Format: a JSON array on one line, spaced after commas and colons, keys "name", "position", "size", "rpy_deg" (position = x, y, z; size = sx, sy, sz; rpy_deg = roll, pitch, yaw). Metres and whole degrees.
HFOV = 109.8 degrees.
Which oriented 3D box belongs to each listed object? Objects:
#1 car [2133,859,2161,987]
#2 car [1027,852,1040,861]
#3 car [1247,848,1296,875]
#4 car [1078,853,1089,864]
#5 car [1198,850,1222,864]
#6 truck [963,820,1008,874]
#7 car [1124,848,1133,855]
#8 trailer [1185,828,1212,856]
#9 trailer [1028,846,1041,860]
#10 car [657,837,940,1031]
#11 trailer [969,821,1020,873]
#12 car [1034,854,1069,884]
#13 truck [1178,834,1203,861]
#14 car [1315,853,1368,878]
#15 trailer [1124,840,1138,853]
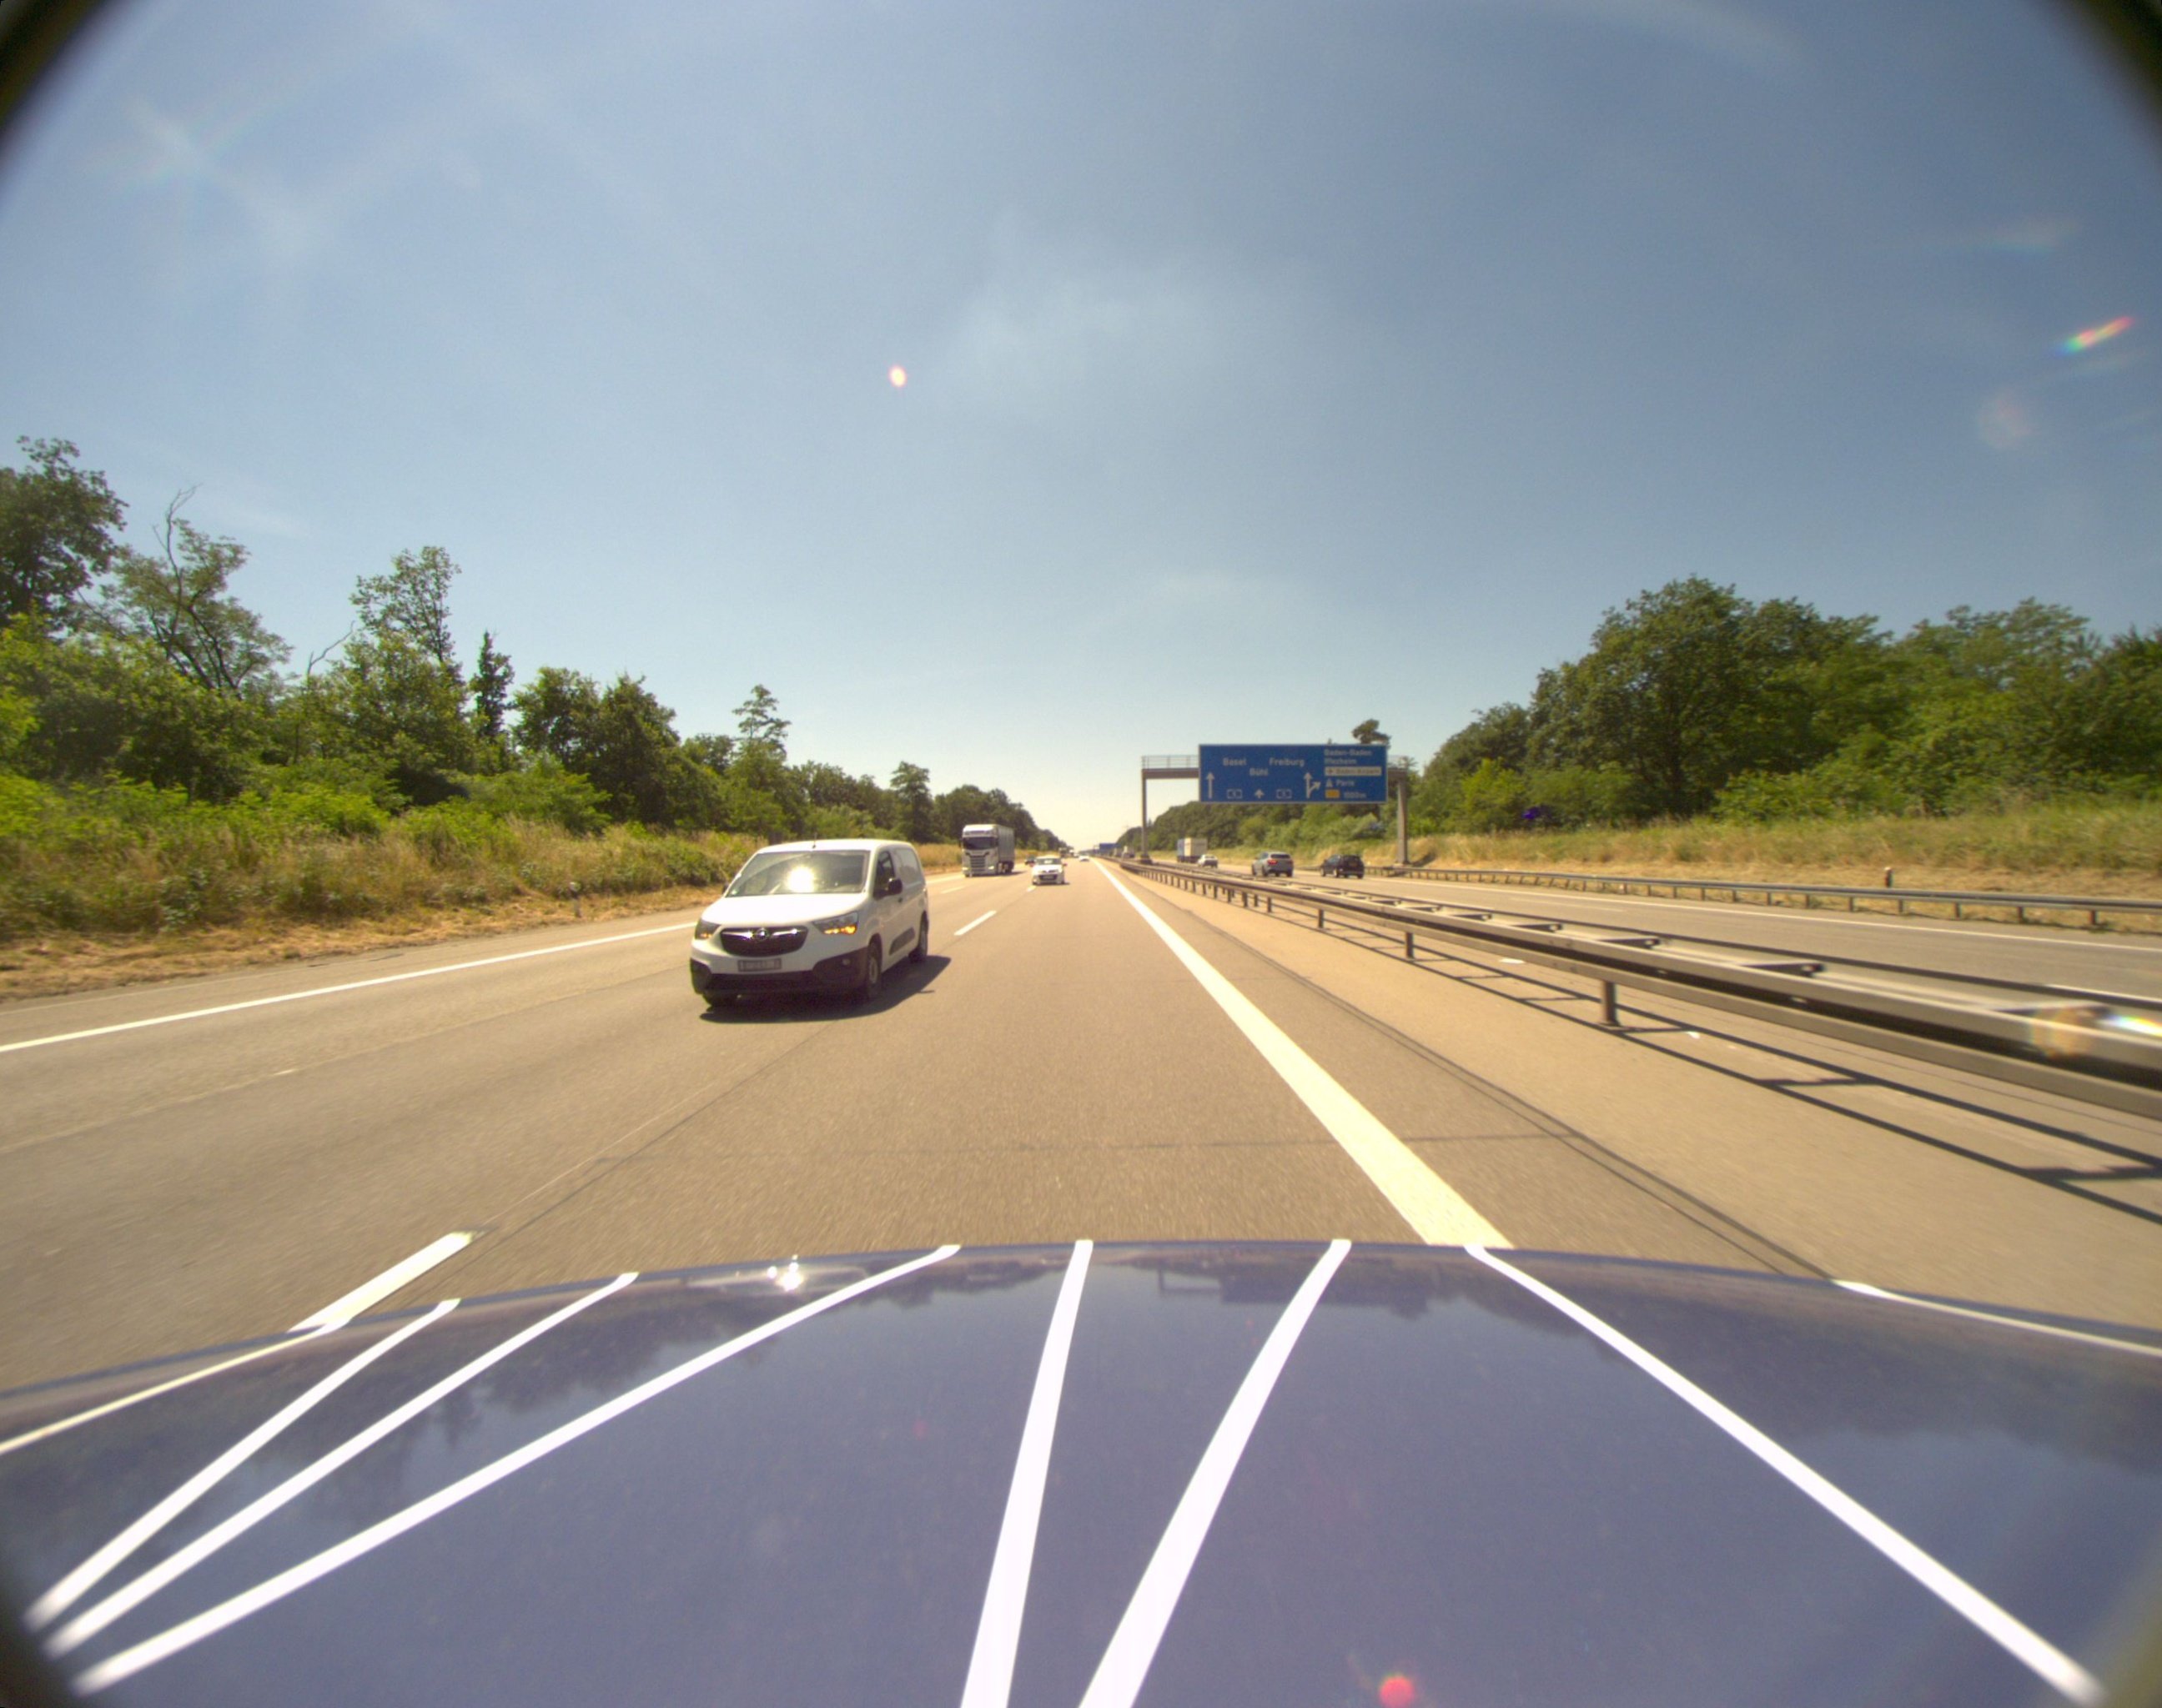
[{"name": "car", "position": [13.826, 0.855, 6.623], "size": [1.967, 1.516, 5.289], "rpy_deg": [1, 1, 0]}, {"name": "car", "position": [-7.529, 0.434, 120.203], "size": [1.845, 1.275, 3.352], "rpy_deg": [-2, 1, 1]}, {"name": "car", "position": [12.755, 0.445, 51.138], "size": [1.967, 1.708, 5.289], "rpy_deg": [1, 1, 0]}, {"name": "car", "position": [0.452, 0.778, 143.324], "size": [1.998, 2.002, 4.000], "rpy_deg": [-2, 1, 1]}, {"name": "car", "position": [13.755, 0.293, 81.526], "size": [1.811, 1.388, 4.479], "rpy_deg": [1, 1, 0]}, {"name": "truck", "position": [-7.427, -0.546, 59.924], "size": [2.603, 3.980, 6.173], "rpy_deg": [-2, 1, 1]}, {"name": "car", "position": [11.885, -0.591, 189.358], "size": [1.836, 1.844, 5.236], "rpy_deg": [1, 1, 0]}, {"name": "trailer", "position": [18.642, -1.832, 121.021], "size": [3.065, 4.258, 8.634], "rpy_deg": [0, 1, 1]}, {"name": "trailer", "position": [-7.529, -0.200, 123.479], "size": [1.849, 2.196, 3.197], "rpy_deg": [-2, 1, 0]}, {"name": "car", "position": [-3.191, 0.760, 9.848], "size": [1.871, 1.807, 4.939], "rpy_deg": [-2, 1, -2]}, {"name": "trailer", "position": [-7.374, -0.606, 66.959], "size": [2.603, 3.980, 14.079], "rpy_deg": [-2, 1, 1]}, {"name": "car", "position": [-1.495, 0.753, 39.123], "size": [1.581, 1.412, 3.352], "rpy_deg": [-2, 1, 1]}, {"name": "truck", "position": [18.762, -1.117, 130.907], "size": [3.065, 4.532, 10.458], "rpy_deg": [0, 0, 1]}, {"name": "car", "position": [17.504, 0.713, 51.284], "size": [1.836, 1.545, 4.949], "rpy_deg": [1, 1, 0]}, {"name": "trailer", "position": [16.963, -2.657, 258.307], "size": [3.539, 4.160, 13.604], "rpy_deg": [2, 1, 0]}]
